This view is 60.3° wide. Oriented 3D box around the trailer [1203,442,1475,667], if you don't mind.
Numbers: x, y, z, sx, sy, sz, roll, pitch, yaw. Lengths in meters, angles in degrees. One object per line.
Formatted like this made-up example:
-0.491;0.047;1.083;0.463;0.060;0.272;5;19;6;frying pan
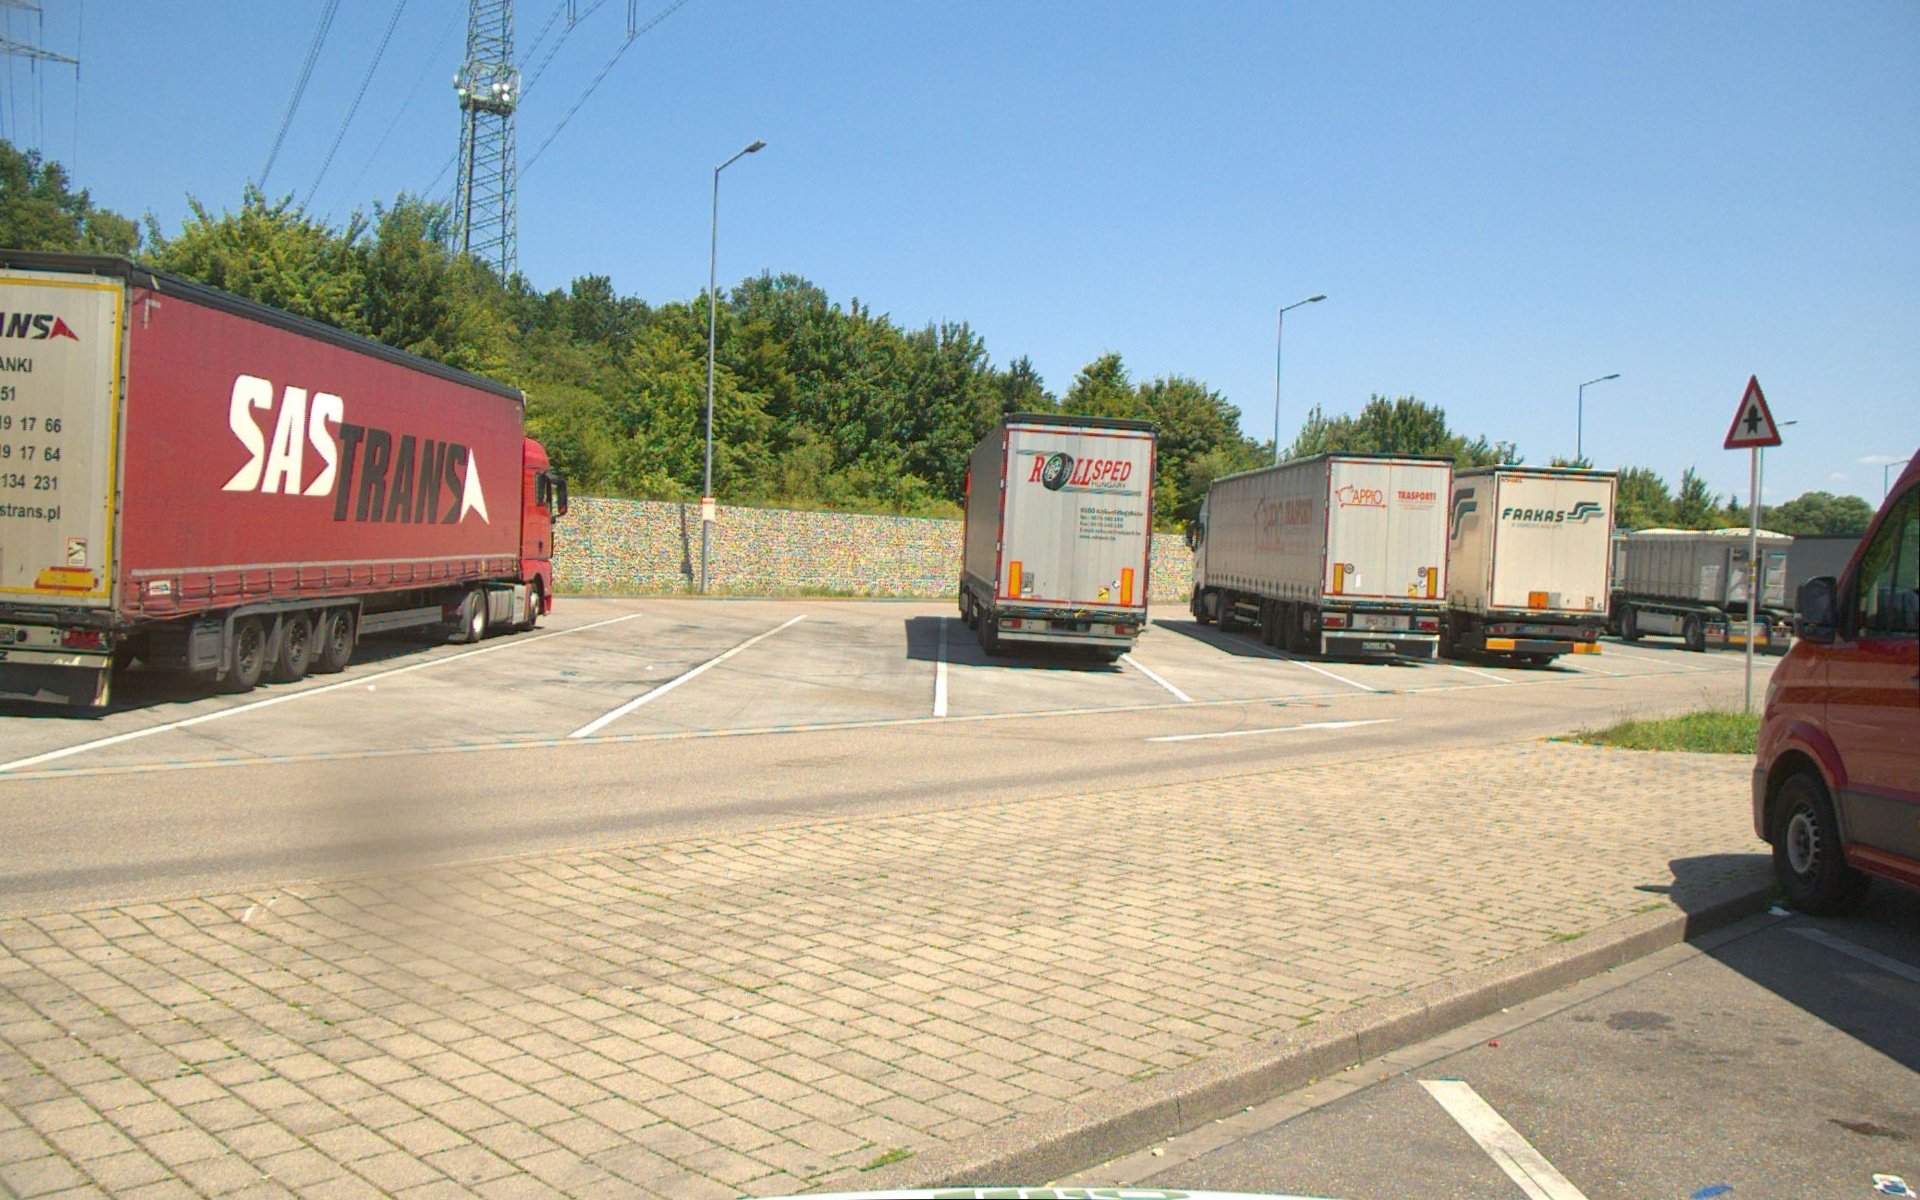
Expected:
8.247;-1.107;38.493;2.800;4.180;13.762;2;2;-1;trailer

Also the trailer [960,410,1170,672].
1.674;-1.179;33.140;2.800;4.040;13.761;2;2;-2;trailer

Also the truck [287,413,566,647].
-8.801;-1.165;28.058;2.755;3.421;5.974;2;2;-1;truck

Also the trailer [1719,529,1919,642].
34.787;-0.721;65.435;2.800;3.972;13.762;2;2;-1;trailer

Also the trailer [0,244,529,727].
-8.693;-1.272;21.242;2.764;4.141;13.763;2;2;-1;trailer

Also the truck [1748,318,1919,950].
4.991;0.155;5.509;1.969;2.697;6.457;1;0;3;truck

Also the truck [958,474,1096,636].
1.473;-1.096;39.337;2.808;3.421;5.974;2;2;-1;truck

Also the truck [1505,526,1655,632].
21.736;-0.804;58.331;2.808;3.421;5.974;2;2;-1;truck

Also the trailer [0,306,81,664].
-12.490;-1.259;15.786;2.651;4.173;10.389;2;2;-1;trailer

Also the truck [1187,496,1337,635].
8.125;-0.991;45.255;2.808;3.421;5.974;2;2;-1;truck

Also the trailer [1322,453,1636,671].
11.767;-0.997;39.557;2.800;4.180;13.762;2;2;-1;trailer

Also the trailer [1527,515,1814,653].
21.834;-0.690;52.236;2.800;3.662;13.762;2;2;-1;trailer
